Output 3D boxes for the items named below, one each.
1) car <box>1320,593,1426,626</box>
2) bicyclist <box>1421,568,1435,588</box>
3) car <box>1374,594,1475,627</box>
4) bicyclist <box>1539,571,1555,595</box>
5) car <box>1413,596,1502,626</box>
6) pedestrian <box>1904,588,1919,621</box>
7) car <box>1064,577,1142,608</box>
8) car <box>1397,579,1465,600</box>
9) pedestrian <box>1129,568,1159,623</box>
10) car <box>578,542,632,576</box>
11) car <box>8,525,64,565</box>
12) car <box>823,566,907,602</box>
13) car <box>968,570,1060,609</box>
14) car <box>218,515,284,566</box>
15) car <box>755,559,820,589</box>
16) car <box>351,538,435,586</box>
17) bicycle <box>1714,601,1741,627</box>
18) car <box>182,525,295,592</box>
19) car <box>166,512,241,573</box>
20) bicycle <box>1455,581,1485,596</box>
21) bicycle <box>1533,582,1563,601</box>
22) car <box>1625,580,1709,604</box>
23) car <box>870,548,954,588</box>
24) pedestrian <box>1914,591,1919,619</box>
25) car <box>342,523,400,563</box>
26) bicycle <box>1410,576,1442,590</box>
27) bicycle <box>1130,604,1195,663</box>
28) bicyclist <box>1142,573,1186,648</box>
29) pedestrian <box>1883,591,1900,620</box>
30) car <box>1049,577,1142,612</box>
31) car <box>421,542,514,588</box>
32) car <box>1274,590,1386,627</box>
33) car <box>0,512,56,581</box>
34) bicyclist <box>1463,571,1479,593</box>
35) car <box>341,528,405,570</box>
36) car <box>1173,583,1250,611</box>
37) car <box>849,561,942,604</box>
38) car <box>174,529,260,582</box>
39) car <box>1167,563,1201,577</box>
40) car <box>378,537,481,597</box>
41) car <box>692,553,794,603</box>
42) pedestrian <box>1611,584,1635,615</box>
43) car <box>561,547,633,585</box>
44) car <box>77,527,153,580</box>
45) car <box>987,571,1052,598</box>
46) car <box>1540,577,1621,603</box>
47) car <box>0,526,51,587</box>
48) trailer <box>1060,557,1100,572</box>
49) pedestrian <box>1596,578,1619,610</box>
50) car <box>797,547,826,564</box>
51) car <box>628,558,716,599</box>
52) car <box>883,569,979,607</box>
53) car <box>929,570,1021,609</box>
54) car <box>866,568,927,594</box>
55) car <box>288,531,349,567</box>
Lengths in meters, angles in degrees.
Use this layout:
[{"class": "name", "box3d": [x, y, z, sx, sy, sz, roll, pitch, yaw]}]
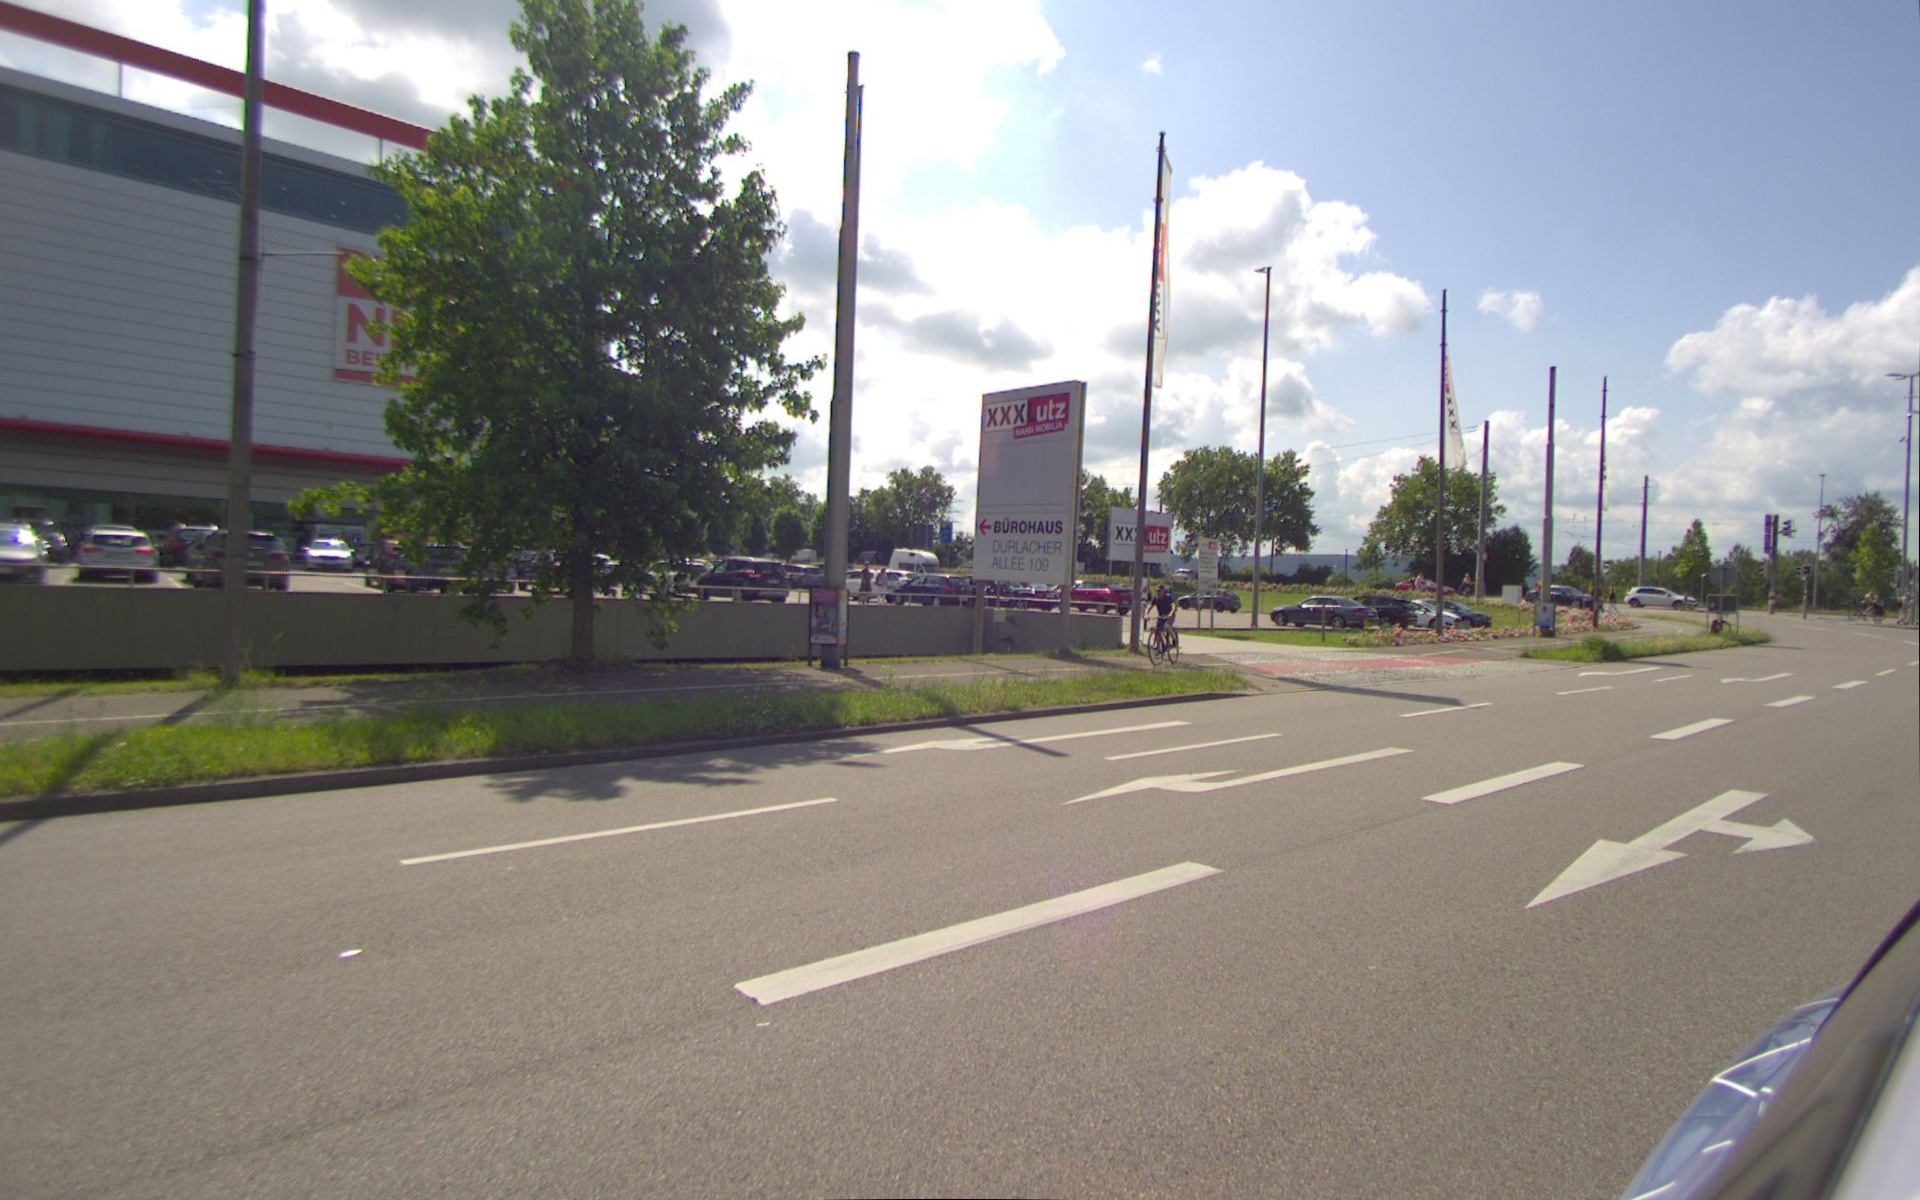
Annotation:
[{"class": "car", "box3d": [19.769, 0.434, 48.538, 1.824, 1.434, 4.368, 0, 1, -40]}, {"class": "bicyclist", "box3d": [33.152, -1.567, 71.660, 0.582, 1.342, 0.687, 2, 0, -39]}, {"class": "car", "box3d": [23.727, 0.512, 51.800, 1.764, 1.458, 4.368, 1, 1, -40]}, {"class": "bicyclist", "box3d": [37.784, -1.100, 65.143, 0.609, 1.555, 0.697, 2, 0, -37]}, {"class": "car", "box3d": [26.992, 0.550, 55.003, 1.686, 1.435, 3.994, 0, 2, -42]}, {"class": "pedestrian", "box3d": [51.534, 0.239, 54.565, 0.686, 1.749, 0.690, 0, 2, -29]}, {"class": "car", "box3d": [8.270, -0.453, 58.639, 1.813, 1.445, 4.371, 3, 2, -39]}, {"class": "car", "box3d": [35.225, -0.790, 75.781, 4.238, 1.377, 1.721, 4, 3, 45]}, {"class": "pedestrian", "box3d": [6.273, -0.154, 34.486, 0.856, 1.805, 0.784, 2, 0, 2]}, {"class": "car", "box3d": [-22.819, -2.632, 65.008, 1.965, 2.039, 3.995, 2, 0, -40]}, {"class": "car", "box3d": [-32.336, -1.909, 35.438, 1.369, 1.269, 3.414, 2, 0, -42]}, {"class": "car", "box3d": [-4.460, -0.772, 47.059, 1.793, 1.527, 4.158, 2, 0, -40]}, {"class": "car", "box3d": [2.415, -0.495, 46.149, 1.651, 1.527, 4.371, 1, 3, -38]}, {"class": "car", "box3d": [-31.045, -2.537, 44.272, 1.965, 2.039, 3.995, 2, 0, -40]}, {"class": "car", "box3d": [-9.626, -1.458, 56.217, 1.817, 1.571, 4.058, 1, 1, -39]}, {"class": "car", "box3d": [-19.705, -1.338, 35.088, 1.697, 1.482, 3.995, 2, 2, -41]}, {"class": "bicycle", "box3d": [29.924, 0.545, 39.461, 1.517, 0.964, 0.518, 0, 1, -41]}, {"class": "car", "box3d": [-19.432, -1.144, 27.179, 1.995, 1.593, 4.367, 2, 2, -42]}, {"class": "car", "box3d": [-27.911, -2.066, 37.290, 1.964, 2.039, 3.995, 2, 0, -40]}, {"class": "bicycle", "box3d": [34.790, -0.817, 68.985, 0.654, 0.973, 1.694, 2, 0, -40]}, {"class": "bicycle", "box3d": [37.800, -0.569, 65.096, 0.609, 1.180, 1.504, 2, 0, -38]}, {"class": "car", "box3d": [49.228, -0.583, 70.516, 1.980, 1.430, 4.488, 1, 2, -43]}, {"class": "car", "box3d": [-4.133, -2.746, 85.429, 3.065, 3.193, 7.903, 0, 2, -37]}, {"class": "pedestrian", "box3d": [53.259, 0.265, 55.975, 0.460, 1.543, 0.557, 2, 0, -32]}, {"class": "car", "box3d": [-32.683, -3.128, 56.094, 1.965, 2.039, 3.993, 2, 0, -42]}, {"class": "bicycle", "box3d": [33.054, -1.209, 71.753, 0.586, 0.973, 1.986, 2, 0, -39]}, {"class": "bicycle", "box3d": [4.036, 0.637, 20.089, 0.620, 1.081, 1.946, 3, 1, 30]}, {"class": "bicyclist", "box3d": [4.054, 0.196, 20.094, 0.612, 1.430, 0.707, 3, 1, 31]}, {"class": "pedestrian", "box3d": [51.414, 0.295, 55.857, 0.460, 1.543, 0.586, 1, 0, -32]}, {"class": "car", "box3d": [6.505, -0.288, 48.976, 1.813, 1.379, 4.371, 3, 2, -39]}, {"class": "car", "box3d": [-17.443, -1.231, 35.746, 1.859, 1.518, 4.366, 1, 1, -42]}, {"class": "car", "box3d": [16.422, 0.364, 45.046, 1.823, 1.495, 4.369, 1, 1, -38]}, {"class": "car", "box3d": [-26.447, -1.487, 28.076, 1.965, 1.772, 3.994, 2, 0, -41]}, {"class": "bicyclist", "box3d": [34.847, -1.246, 68.968, 0.639, 1.494, 0.742, 2, 0, -40]}, {"class": "car", "box3d": [-27.280, -2.362, 46.990, 1.964, 1.771, 3.997, 2, 1, -39]}, {"class": "car", "box3d": [16.023, -0.184, 64.661, 2.012, 1.426, 4.372, 3, 2, -39]}, {"class": "car", "box3d": [-2.701, -0.740, 41.788, 1.665, 1.607, 4.022, 3, 0, -41]}, {"class": "car", "box3d": [-22.895, -1.343, 31.132, 1.730, 1.482, 4.247, 2, 0, -41]}, {"class": "car", "box3d": [26.346, -3.540, 118.998, 3.476, 1.474, 1.676, -1, 1, 41]}, {"class": "car", "box3d": [-15.999, -1.011, 30.411, 1.734, 1.571, 4.190, 2, 2, -42]}, {"class": "car", "box3d": [-7.838, -0.807, 36.332, 1.713, 1.550, 4.059, 1, 3, -44]}, {"class": "pedestrian", "box3d": [39.970, -0.033, 61.022, 0.848, 1.787, 0.864, 1, 0, -14]}, {"class": "car", "box3d": [-17.388, -1.630, 48.386, 1.677, 1.529, 4.159, 2, 3, -44]}, {"class": "car", "box3d": [-24.625, -1.327, 29.446, 1.587, 1.405, 3.772, 1, 1, -41]}, {"class": "car", "box3d": [3.955, -1.050, 67.838, 1.821, 1.607, 4.233, 2, 2, -42]}, {"class": "car", "box3d": [40.742, -0.692, 66.515, 1.876, 1.501, 4.212, 1, 3, -22]}, {"class": "car", "box3d": [-23.215, -1.113, 24.485, 1.734, 1.341, 4.367, 2, 2, -42]}, {"class": "trailer", "box3d": [15.579, -4.627, 131.697, 5.162, 1.854, 1.798, 2, 1, 42]}, {"class": "pedestrian", "box3d": [38.131, -0.357, 59.635, 0.744, 1.825, 0.823, 1, 1, -13]}, {"class": "car", "box3d": [-26.022, -7.829, 177.674, 5.575, 2.522, 1.928, 6, 2, 44]}, {"class": "car", "box3d": [-11.656, -0.902, 40.794, 1.728, 1.445, 4.299, 4, 0, -40]}, {"class": "car", "box3d": [-1.273, -0.517, 43.161, 1.813, 1.379, 4.371, 1, 3, -38]}, {"class": "car", "box3d": [0.607, -0.486, 44.593, 1.597, 1.460, 4.371, 3, 2, -38]}, {"class": "car", "box3d": [-3.904, -1.150, 61.778, 1.638, 1.470, 3.996, 2, 0, -39]}, {"class": "car", "box3d": [-28.960, -2.252, 45.642, 1.871, 1.482, 3.996, 2, 0, -39]}]
